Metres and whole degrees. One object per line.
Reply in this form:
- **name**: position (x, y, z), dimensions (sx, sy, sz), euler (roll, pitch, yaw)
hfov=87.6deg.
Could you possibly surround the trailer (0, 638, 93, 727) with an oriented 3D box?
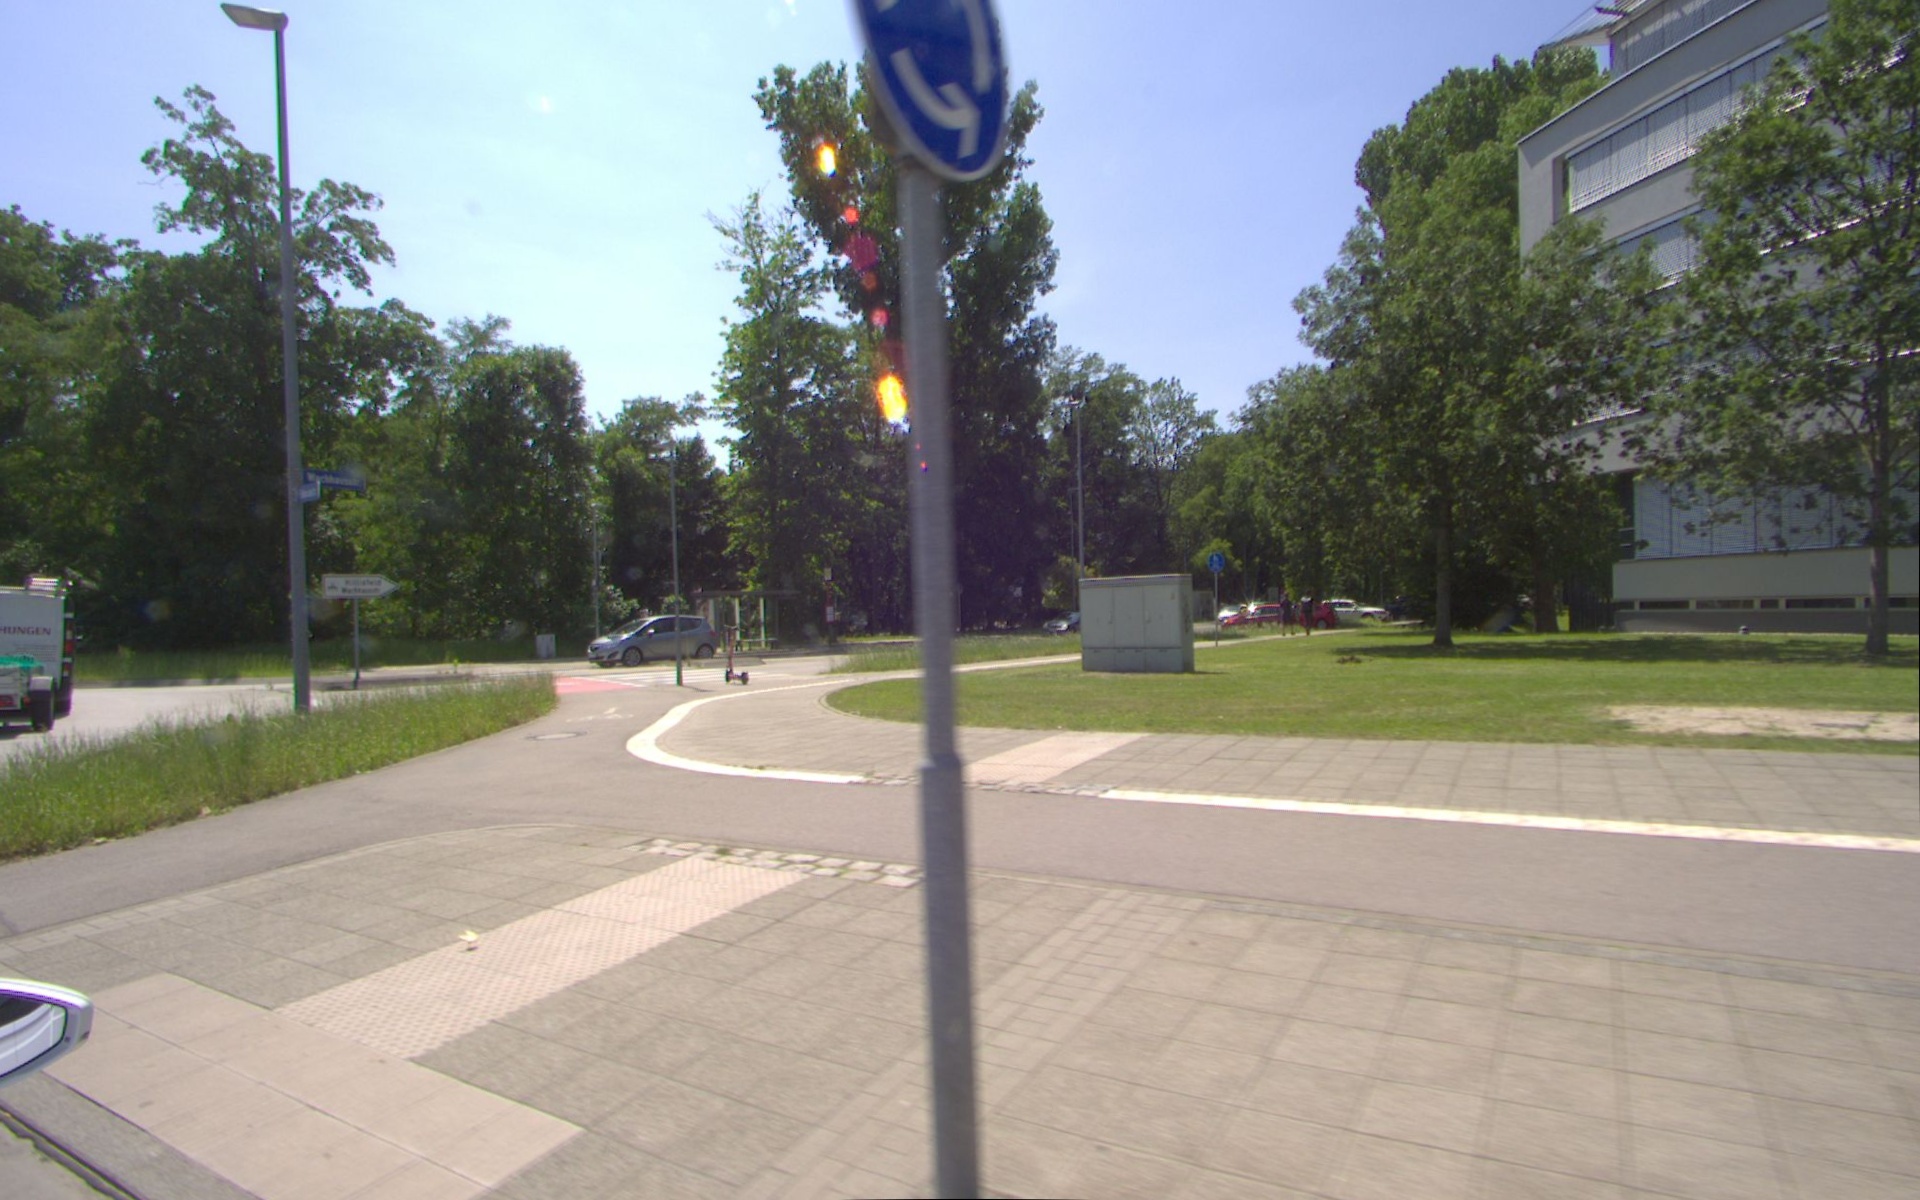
- **trailer**: position (-13.566, 1.119, 13.892), dimensions (2.103, 1.111, 3.330), euler (0, -2, -38)

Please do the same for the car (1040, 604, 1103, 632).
- **car**: position (6.216, 0.978, 55.403), dimensions (1.681, 1.506, 3.974), euler (2, 0, 37)

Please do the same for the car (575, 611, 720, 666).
- **car**: position (-9.967, 1.202, 32.152), dimensions (1.771, 1.627, 4.092), euler (-2, -2, 42)

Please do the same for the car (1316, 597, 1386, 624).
- **car**: position (23.569, 0.647, 60.316), dimensions (3.634, 1.502, 1.859), euler (-2, -1, 33)

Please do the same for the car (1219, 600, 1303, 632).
- **car**: position (15.022, 0.828, 49.922), dimensions (3.634, 1.502, 1.859), euler (-2, -1, 33)

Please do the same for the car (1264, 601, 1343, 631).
- **car**: position (18.359, 0.859, 53.554), dimensions (3.634, 1.502, 1.859), euler (-2, -1, 33)

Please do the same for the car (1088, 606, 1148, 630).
- **car**: position (9.618, 1.092, 60.691), dimensions (1.974, 1.327, 3.974), euler (-2, -2, 36)

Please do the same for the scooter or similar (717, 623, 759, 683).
- **scooter or similar**: position (-4.656, 1.095, 20.924), dimensions (0.441, 1.217, 1.392), euler (-1, -1, -30)

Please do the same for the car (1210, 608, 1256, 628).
- **car**: position (20.671, 1.361, 75.727), dimensions (1.976, 1.488, 3.971), euler (-2, -2, 38)

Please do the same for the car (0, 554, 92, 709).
- **car**: position (-16.201, 0.564, 16.978), dimensions (2.150, 2.346, 4.937), euler (0, -2, -42)
